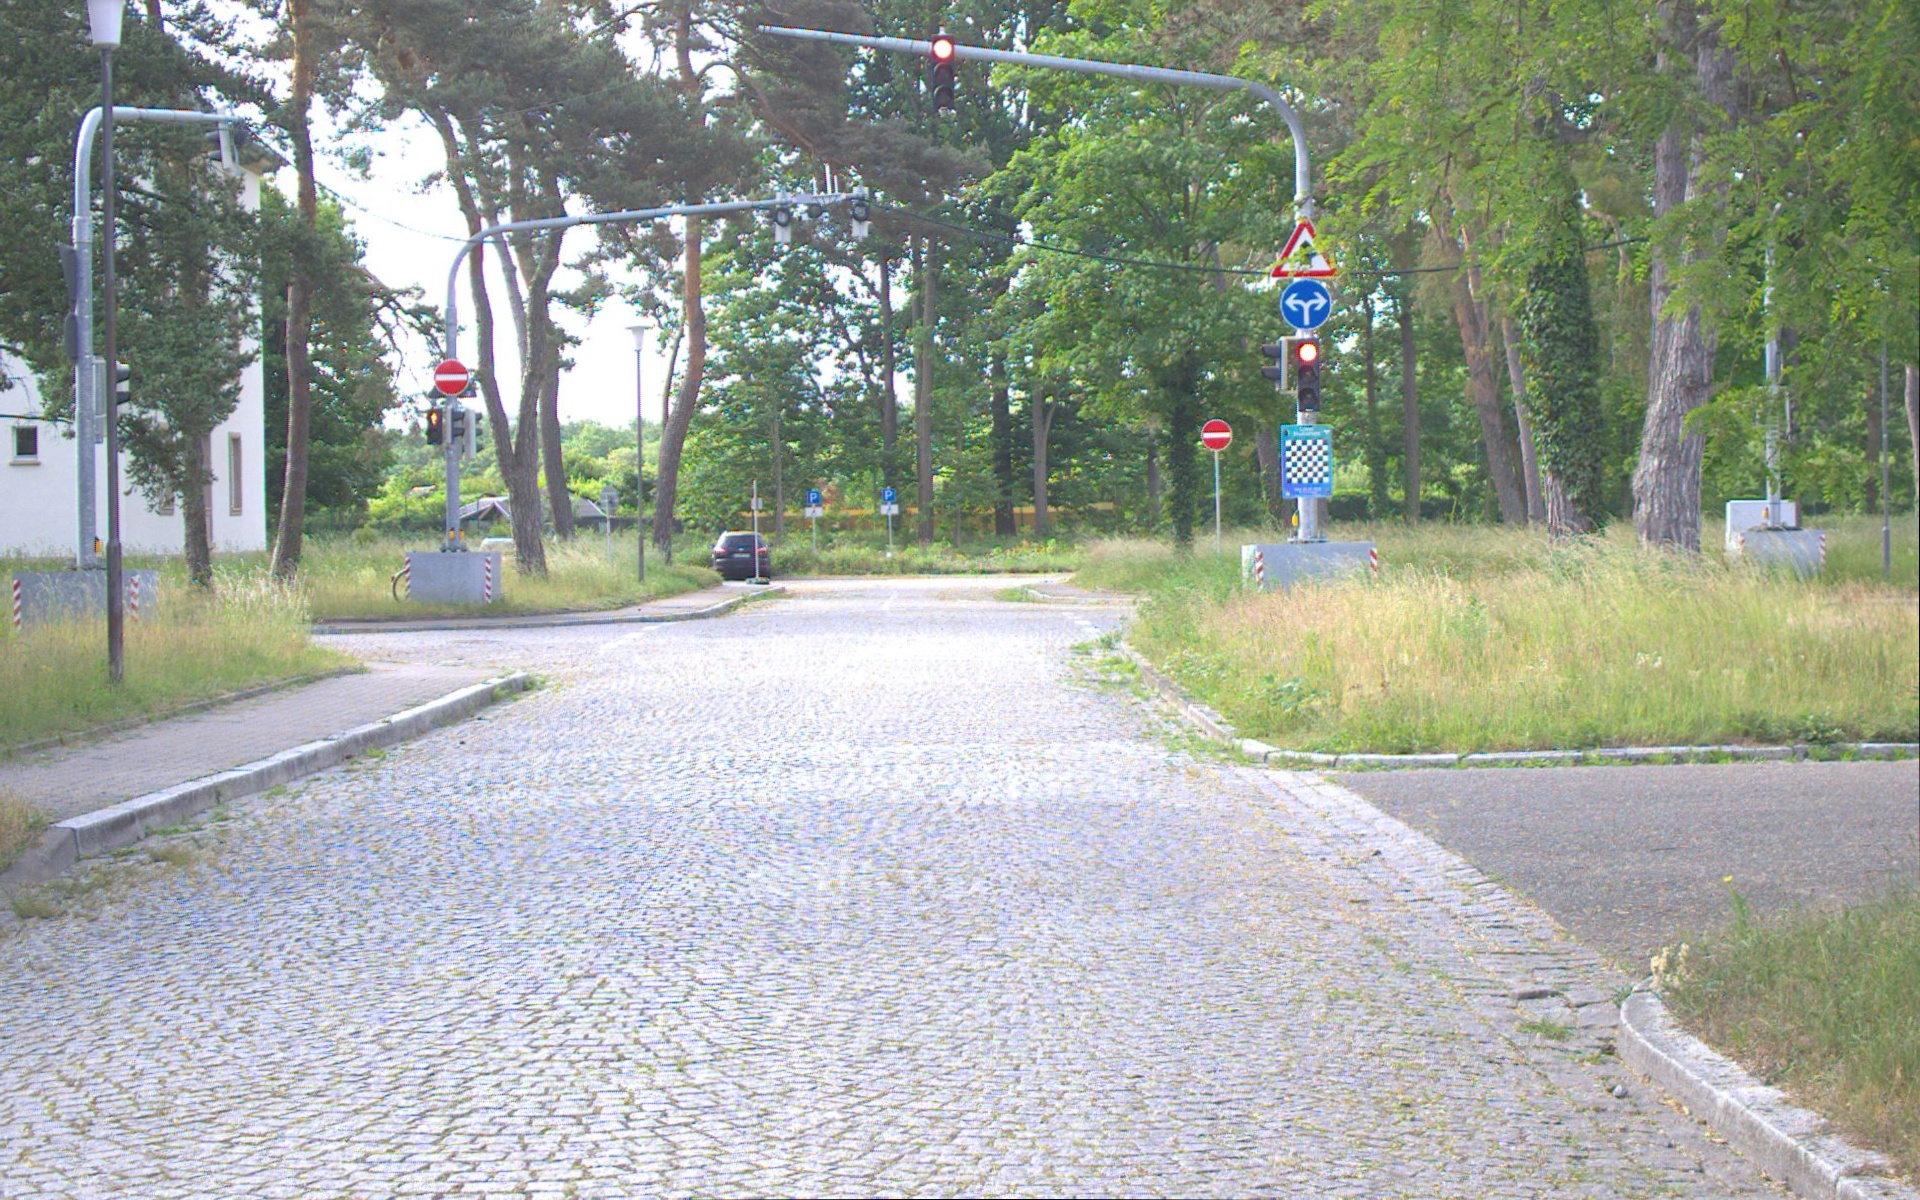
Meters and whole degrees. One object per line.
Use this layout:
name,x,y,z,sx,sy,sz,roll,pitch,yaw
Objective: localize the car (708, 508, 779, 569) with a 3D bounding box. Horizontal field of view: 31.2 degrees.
car,-6.794,-1.955,108.228,2.056,1.840,4.000,-1,1,-1
